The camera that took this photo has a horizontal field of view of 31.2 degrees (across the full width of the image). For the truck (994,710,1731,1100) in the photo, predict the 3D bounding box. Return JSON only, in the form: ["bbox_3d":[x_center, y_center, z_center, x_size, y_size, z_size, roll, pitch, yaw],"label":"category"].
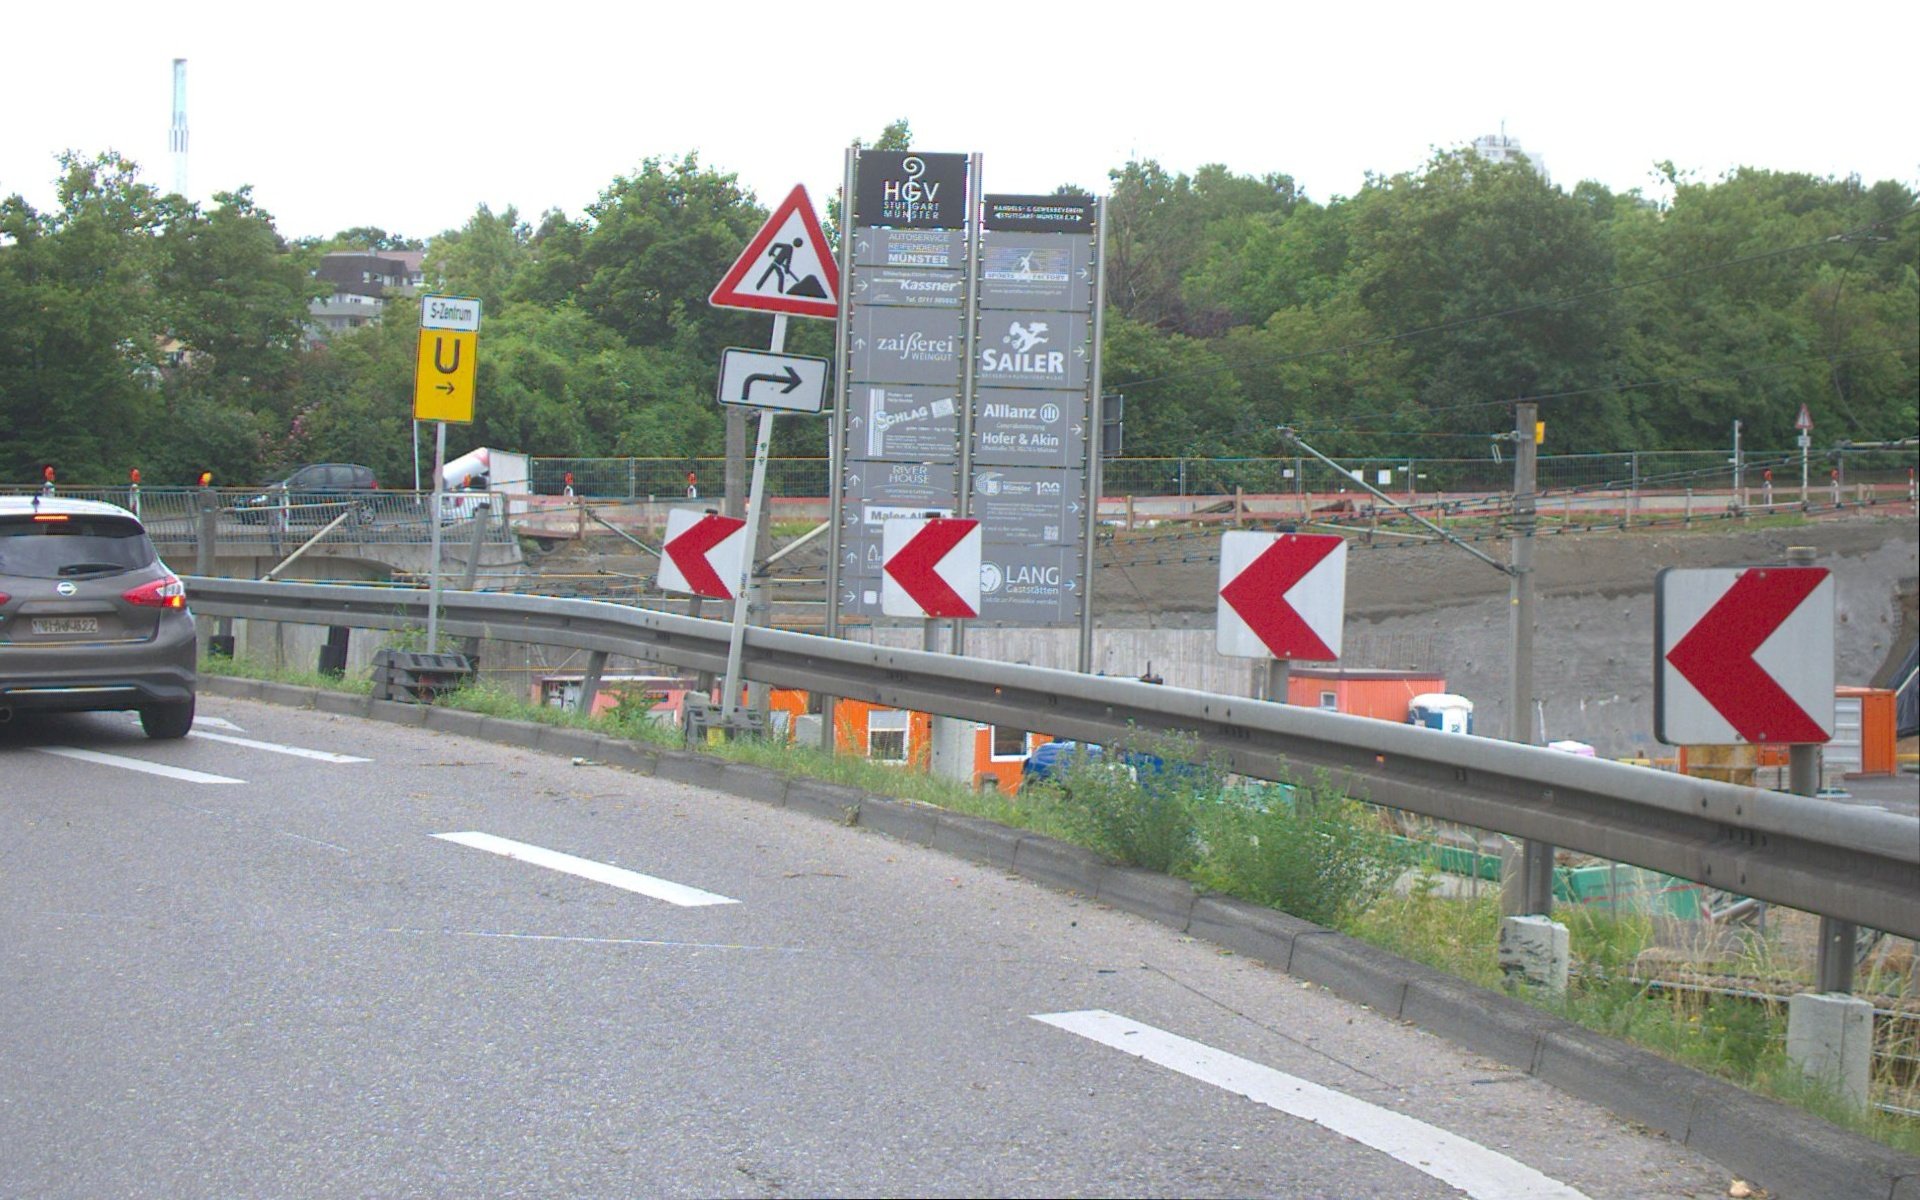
[{"bbox_3d":[5.250,3.983,48.346,2.838,3.879,11.619,0,3,-38],"label":"truck"}]

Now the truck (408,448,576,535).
[{"bbox_3d":[-12.104,-2.801,89.091,1.998,2.007,3.991,3,0,37],"label":"truck"}]

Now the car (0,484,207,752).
[{"bbox_3d":[-6.256,0.043,22.151,1.797,1.546,4.001,-1,3,-27],"label":"car"}]
